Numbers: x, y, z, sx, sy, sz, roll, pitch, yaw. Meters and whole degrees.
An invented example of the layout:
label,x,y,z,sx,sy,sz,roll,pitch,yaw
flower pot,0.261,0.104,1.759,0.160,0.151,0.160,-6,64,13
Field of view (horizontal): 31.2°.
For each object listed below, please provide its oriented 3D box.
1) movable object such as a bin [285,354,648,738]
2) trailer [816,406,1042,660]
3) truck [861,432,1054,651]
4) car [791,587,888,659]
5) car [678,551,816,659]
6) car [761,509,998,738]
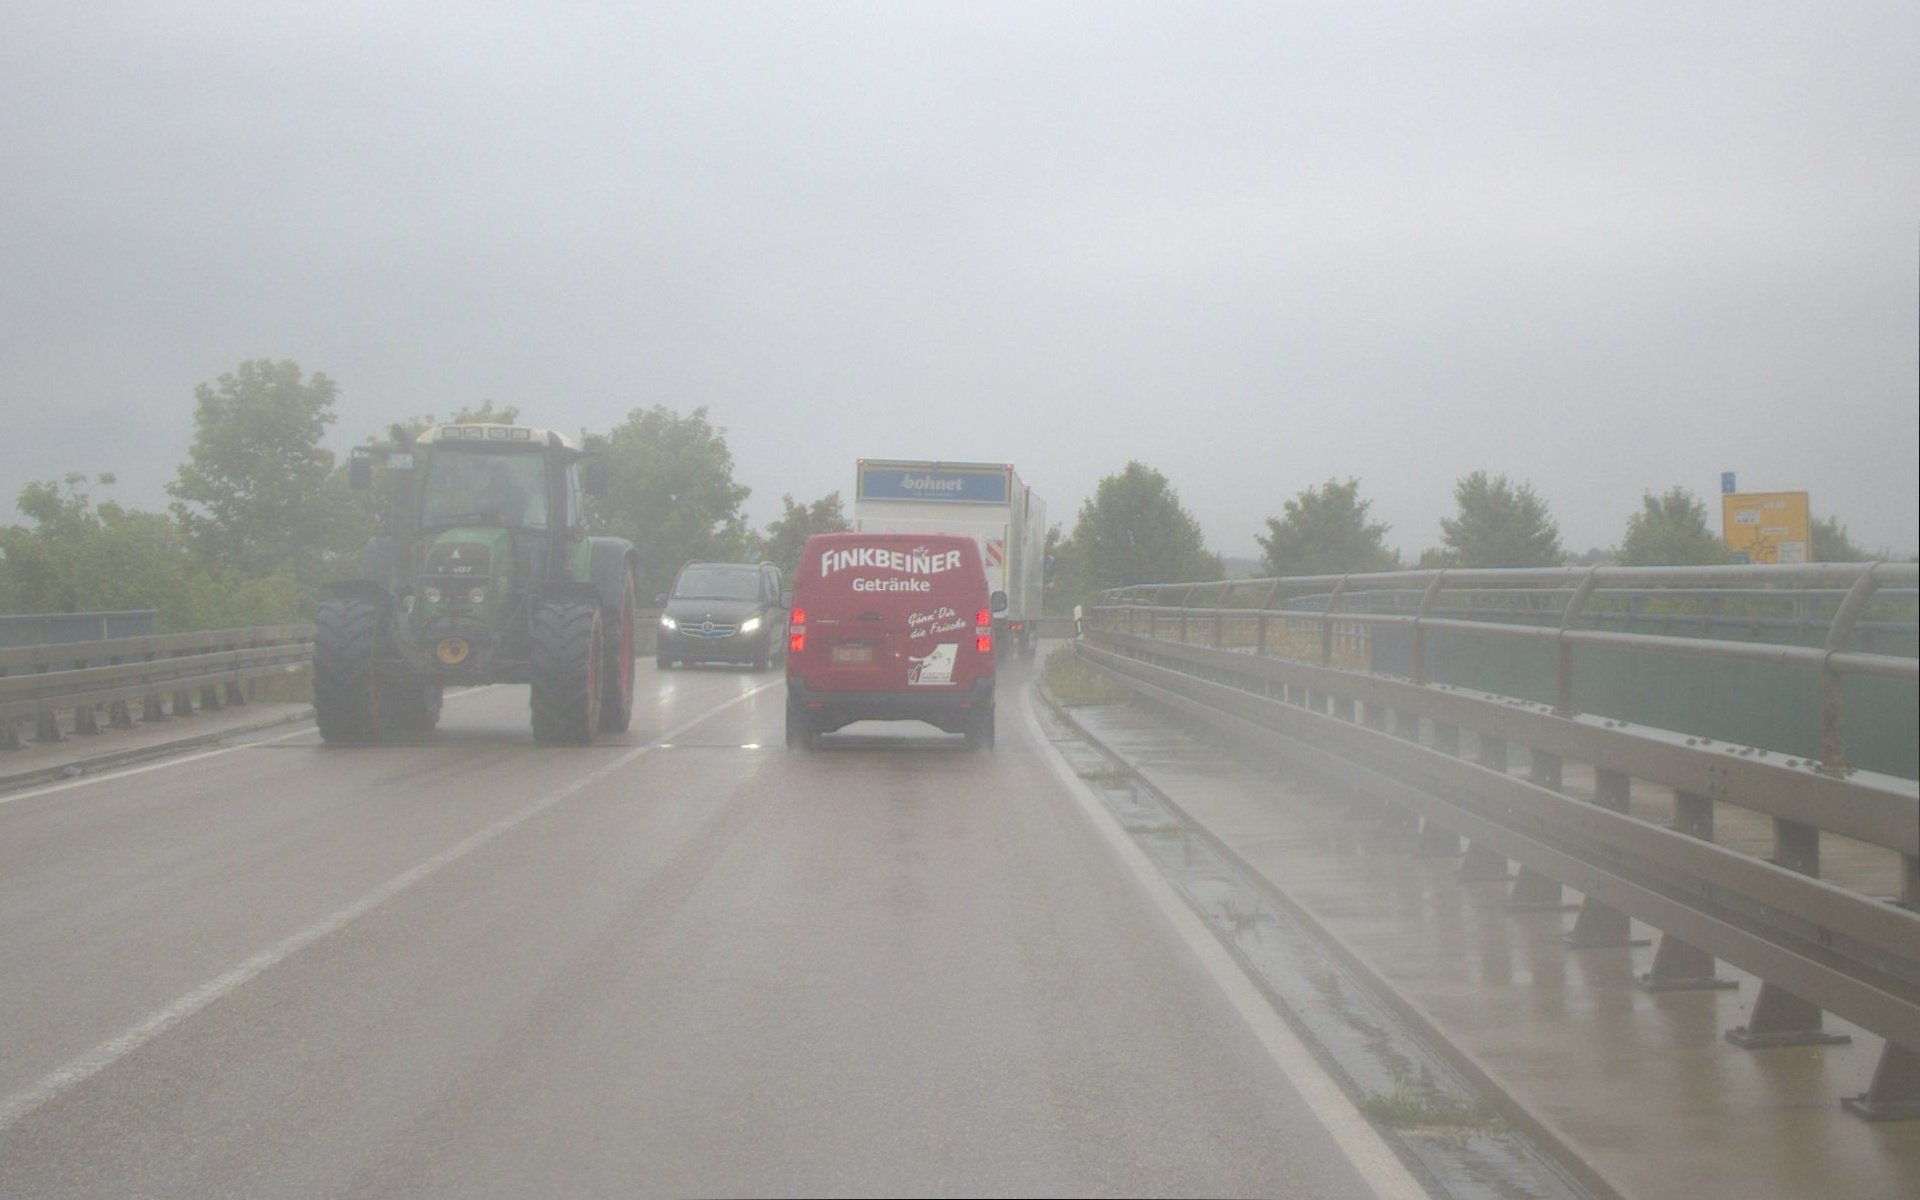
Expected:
label,x,y,z,sx,sy,sz,roll,pitch,yaw
movable object such as a bin,-4.632,-0.504,33.122,2.748,3.433,4.643,0,0,1
trailer,-0.401,-1.096,59.396,3.202,3.908,8.739,3,0,3
truck,0.072,-1.111,68.148,3.202,3.908,8.739,3,0,3
car,-2.674,0.493,77.276,1.839,1.532,4.069,0,1,3
car,-3.718,0.064,60.872,2.066,1.831,4.931,0,1,1
car,-0.731,0.149,31.527,1.993,1.919,4.144,1,2,-1
